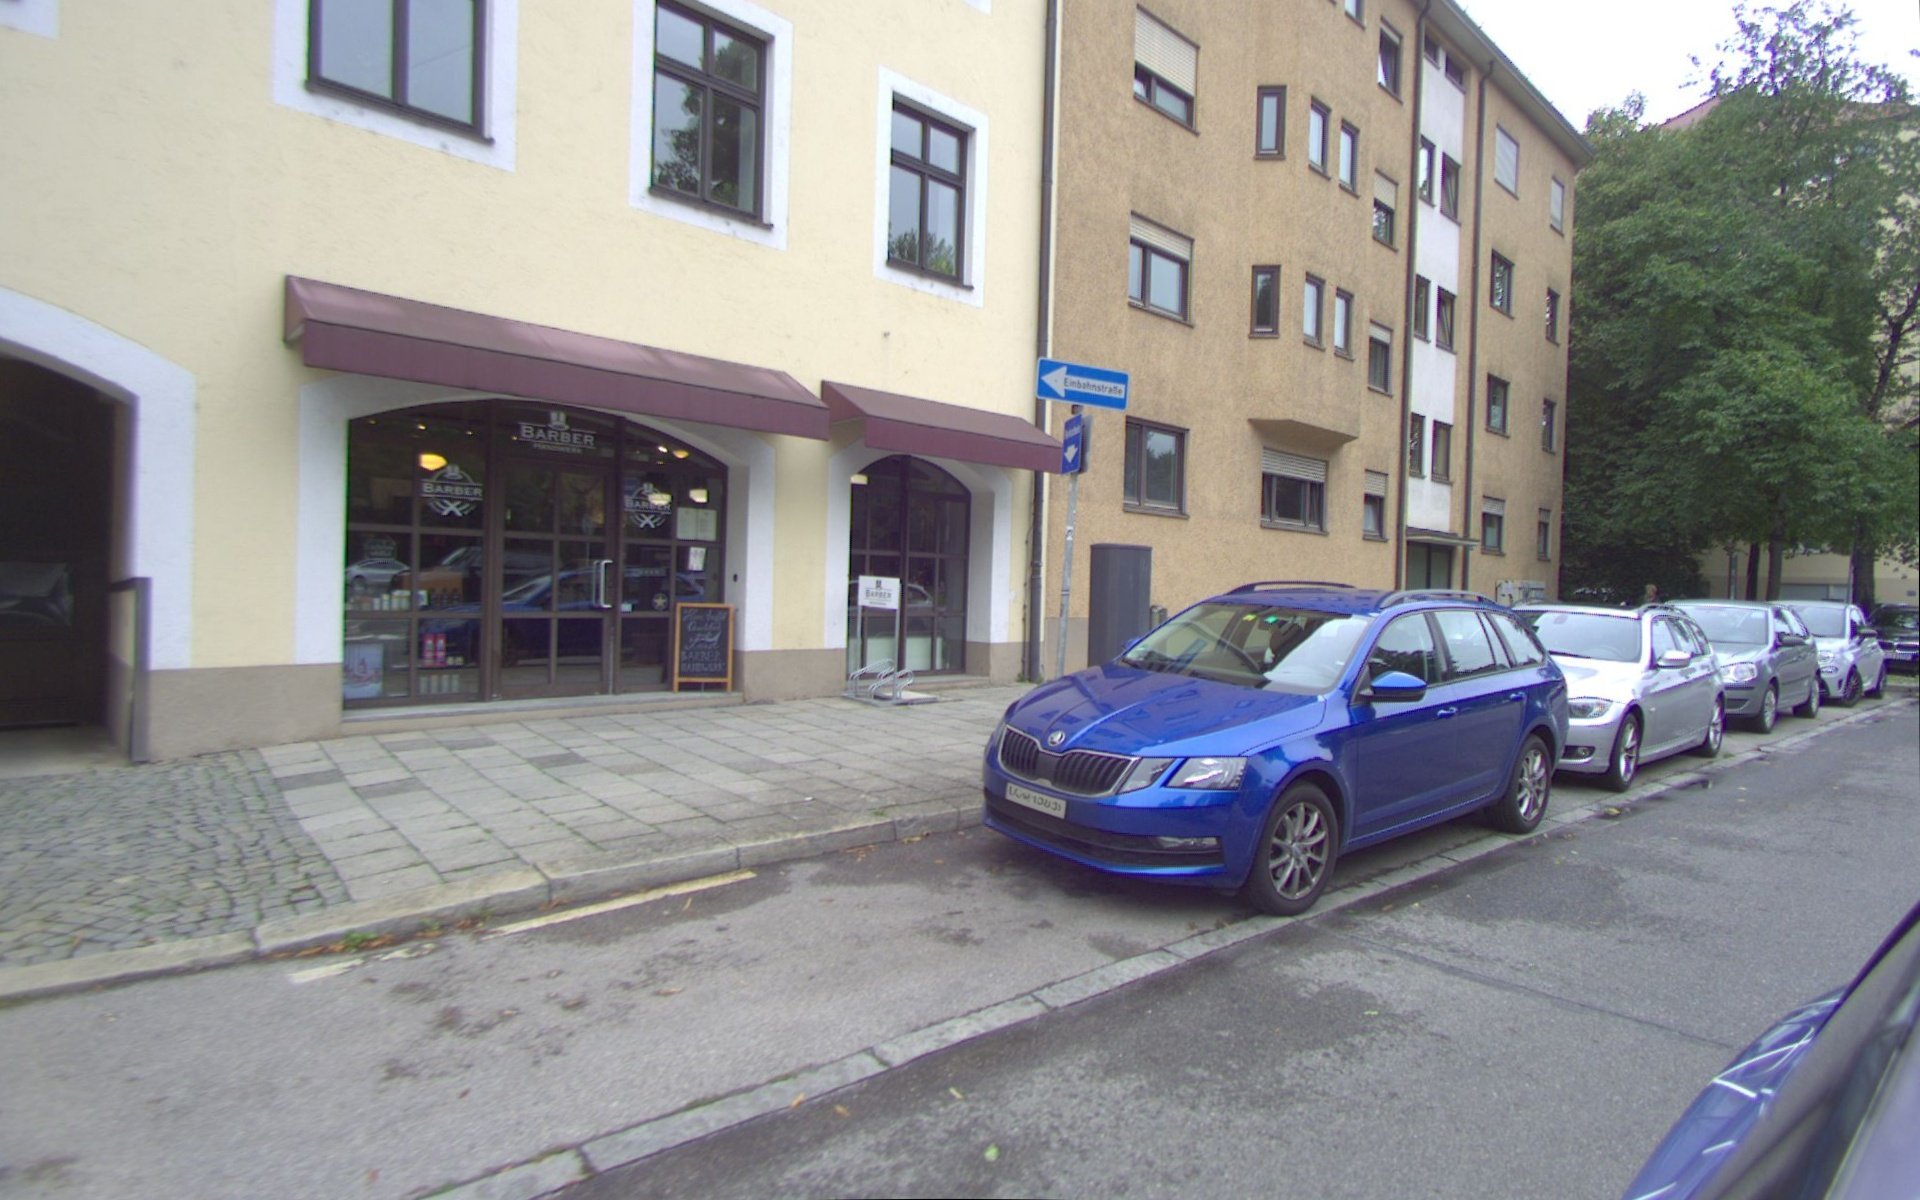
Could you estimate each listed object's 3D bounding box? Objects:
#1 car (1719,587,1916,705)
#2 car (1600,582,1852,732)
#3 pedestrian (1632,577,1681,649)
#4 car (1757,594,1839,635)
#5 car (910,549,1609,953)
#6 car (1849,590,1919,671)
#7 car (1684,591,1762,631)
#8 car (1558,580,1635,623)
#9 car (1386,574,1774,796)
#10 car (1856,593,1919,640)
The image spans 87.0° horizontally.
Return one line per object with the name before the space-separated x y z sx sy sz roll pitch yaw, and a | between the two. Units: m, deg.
car | 13.177 0.620 15.486 3.752 1.514 1.632 1 3 -40
car | 9.544 0.603 12.524 3.719 1.514 1.632 1 3 -40
pedestrian | 16.411 0.282 23.855 0.963 1.644 0.672 0 2 -39
car | 33.160 0.542 40.014 4.175 1.485 2.050 0 2 -44
car | 2.014 0.562 5.975 4.407 1.514 1.761 1 3 -40
car | 20.391 0.640 21.335 4.299 1.514 1.796 0 4 -41
car | 31.469 0.424 41.708 4.175 1.485 1.914 0 2 -44
car | 28.376 0.073 45.078 4.174 1.773 1.914 0 2 -43
car | 5.809 0.601 9.253 4.355 1.514 1.694 0 3 -40
car | 34.889 0.586 37.768 4.175 1.584 1.822 0 2 -44
